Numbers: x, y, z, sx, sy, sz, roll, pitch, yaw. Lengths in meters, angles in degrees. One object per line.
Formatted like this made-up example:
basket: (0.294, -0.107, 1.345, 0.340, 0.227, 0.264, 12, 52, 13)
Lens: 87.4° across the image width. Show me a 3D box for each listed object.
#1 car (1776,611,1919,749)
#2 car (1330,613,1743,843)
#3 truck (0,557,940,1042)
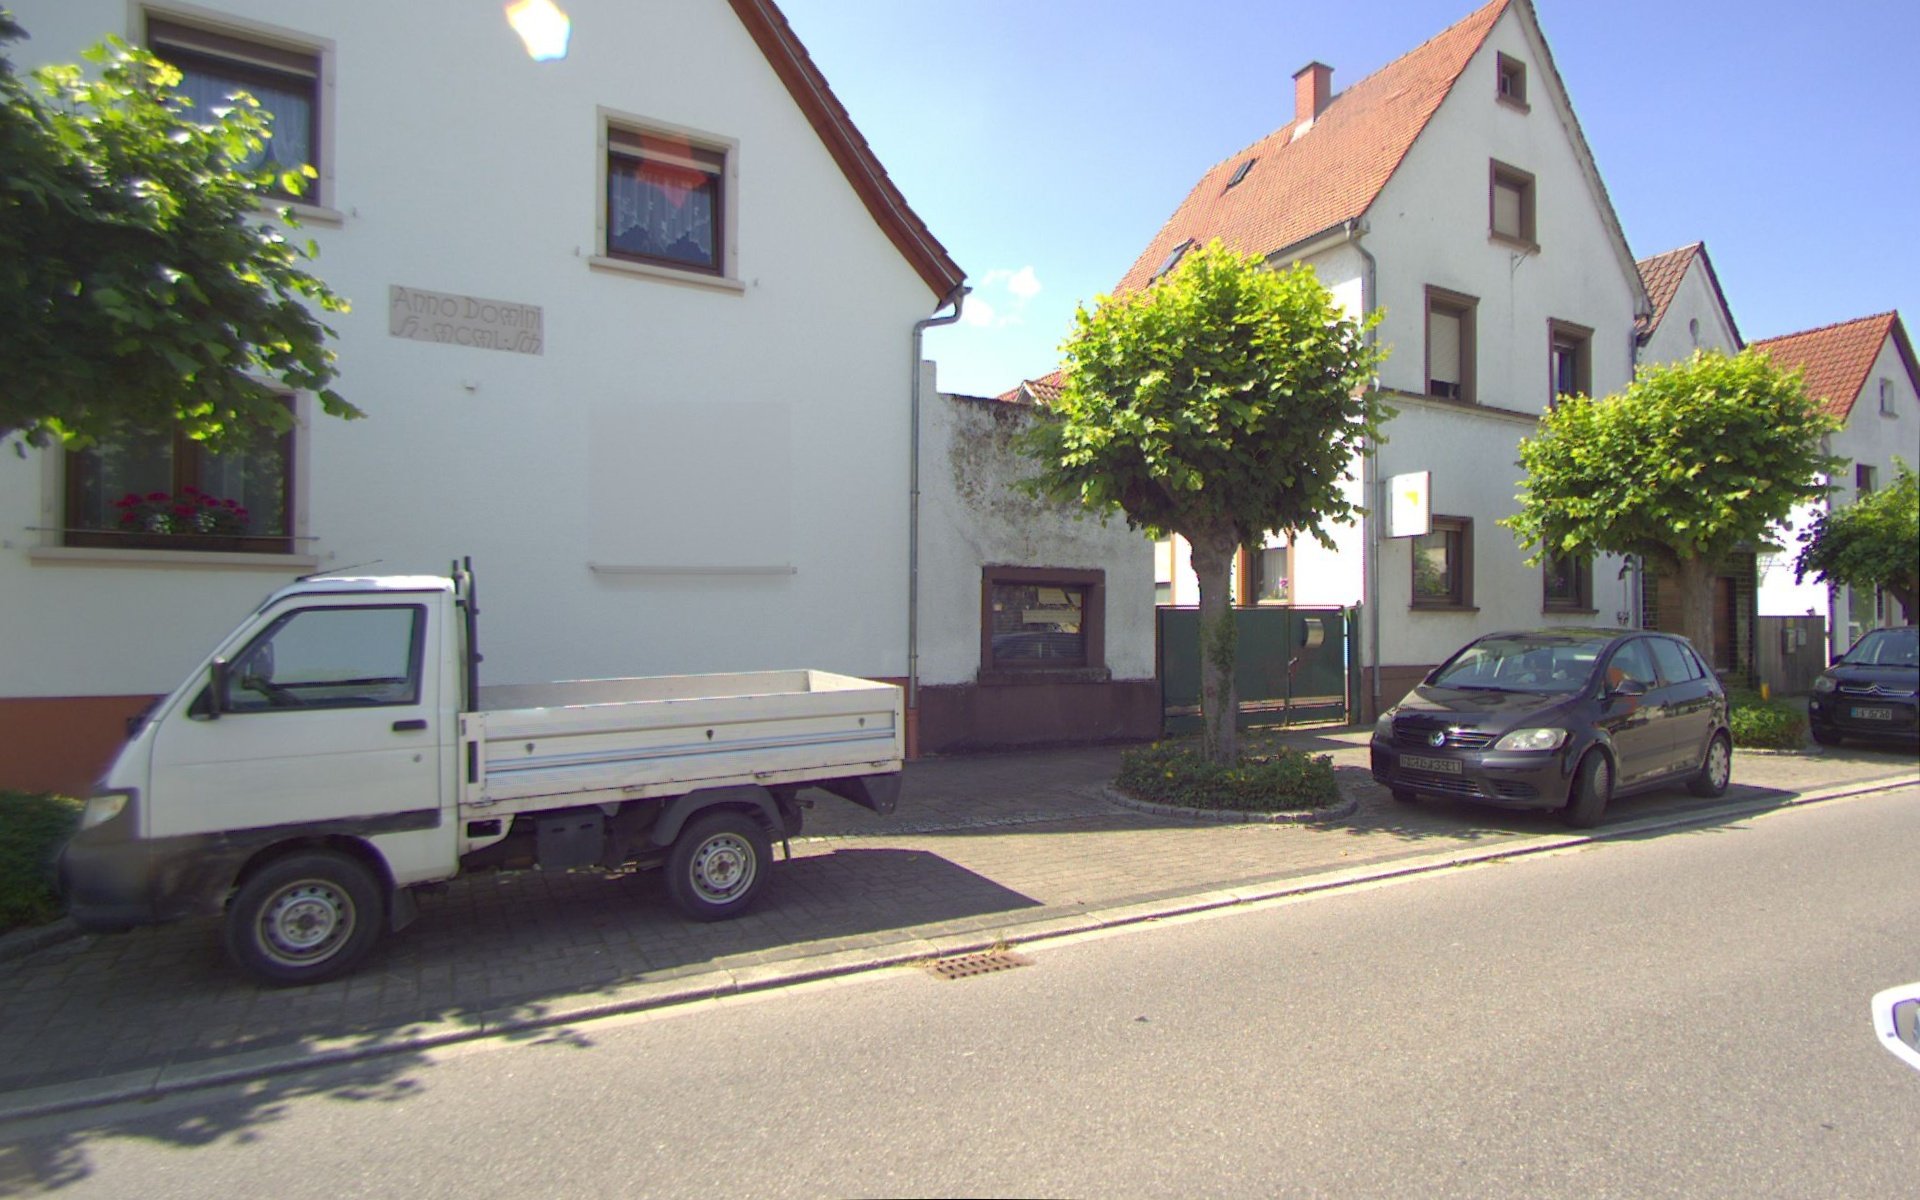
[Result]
car: (13.240, 1.039, 13.778, 4.008, 1.657, 1.844, 2, 0, -30)
car: (5.344, 0.981, 9.165, 3.960, 1.655, 1.774, 1, -1, -35)
truck: (-2.307, 0.770, 5.310, 4.142, 1.789, 1.569, 1, 0, -30)
